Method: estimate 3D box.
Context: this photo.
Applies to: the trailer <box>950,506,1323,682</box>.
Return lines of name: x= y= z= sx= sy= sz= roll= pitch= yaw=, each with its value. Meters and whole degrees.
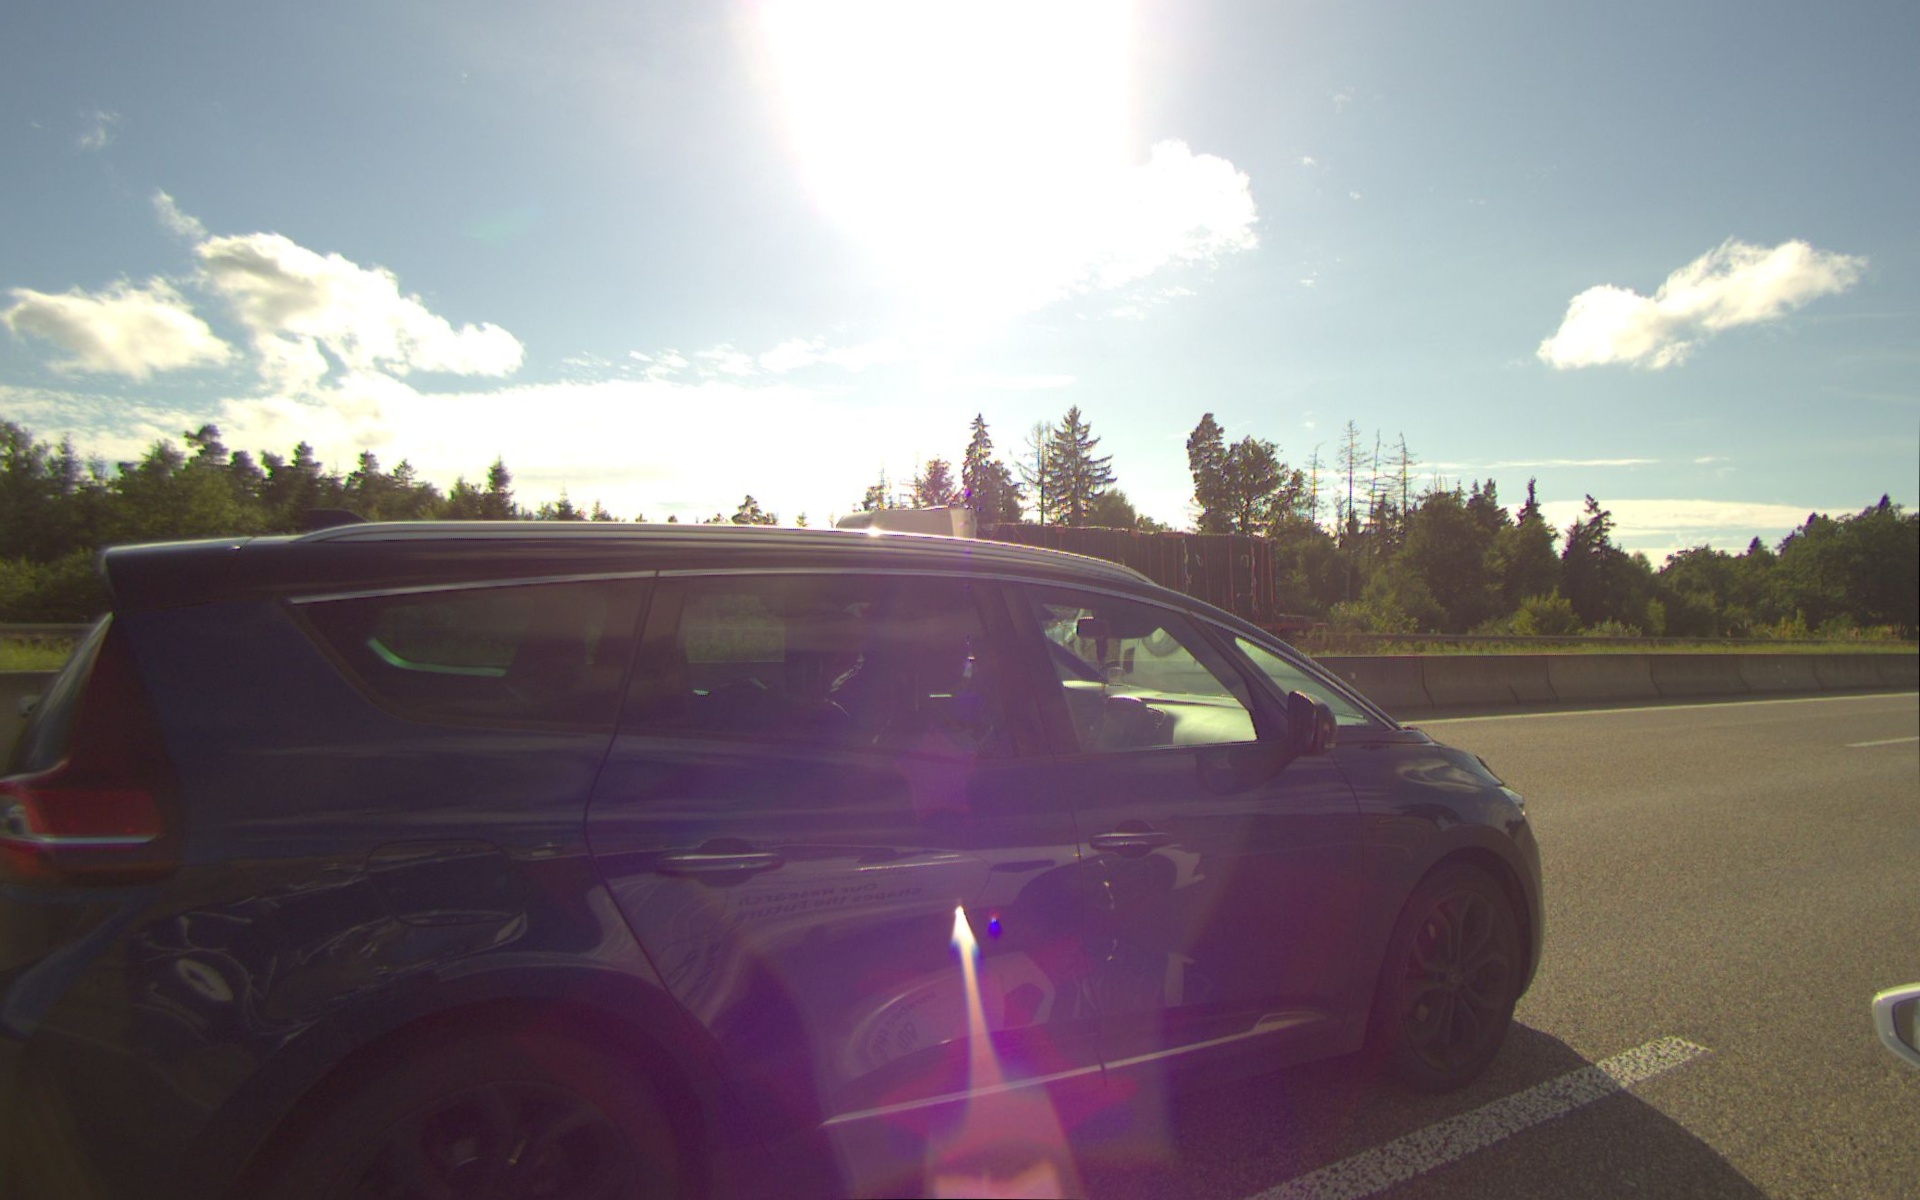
trailer: x=5.562 y=-0.041 z=29.735 sx=11.909 sy=4.450 sz=2.789 roll=1 pitch=0 yaw=-31

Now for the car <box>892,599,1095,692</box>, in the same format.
car: x=0.729 y=0.946 z=21.773 sx=3.952 sy=1.826 sz=1.984 roll=1 pitch=0 yaw=-30

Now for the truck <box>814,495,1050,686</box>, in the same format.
truck: x=-0.702 y=-0.174 z=26.020 sx=5.400 sy=4.450 sz=2.789 roll=1 pitch=0 yaw=-30

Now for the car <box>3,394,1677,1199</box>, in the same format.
car: x=0.153 y=0.623 z=3.360 sx=4.475 sy=1.729 sz=1.984 roll=1 pitch=0 yaw=-30

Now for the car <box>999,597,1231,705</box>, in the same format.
car: x=2.932 y=0.910 z=18.896 sx=3.952 sy=1.826 sz=1.984 roll=1 pitch=0 yaw=-30
